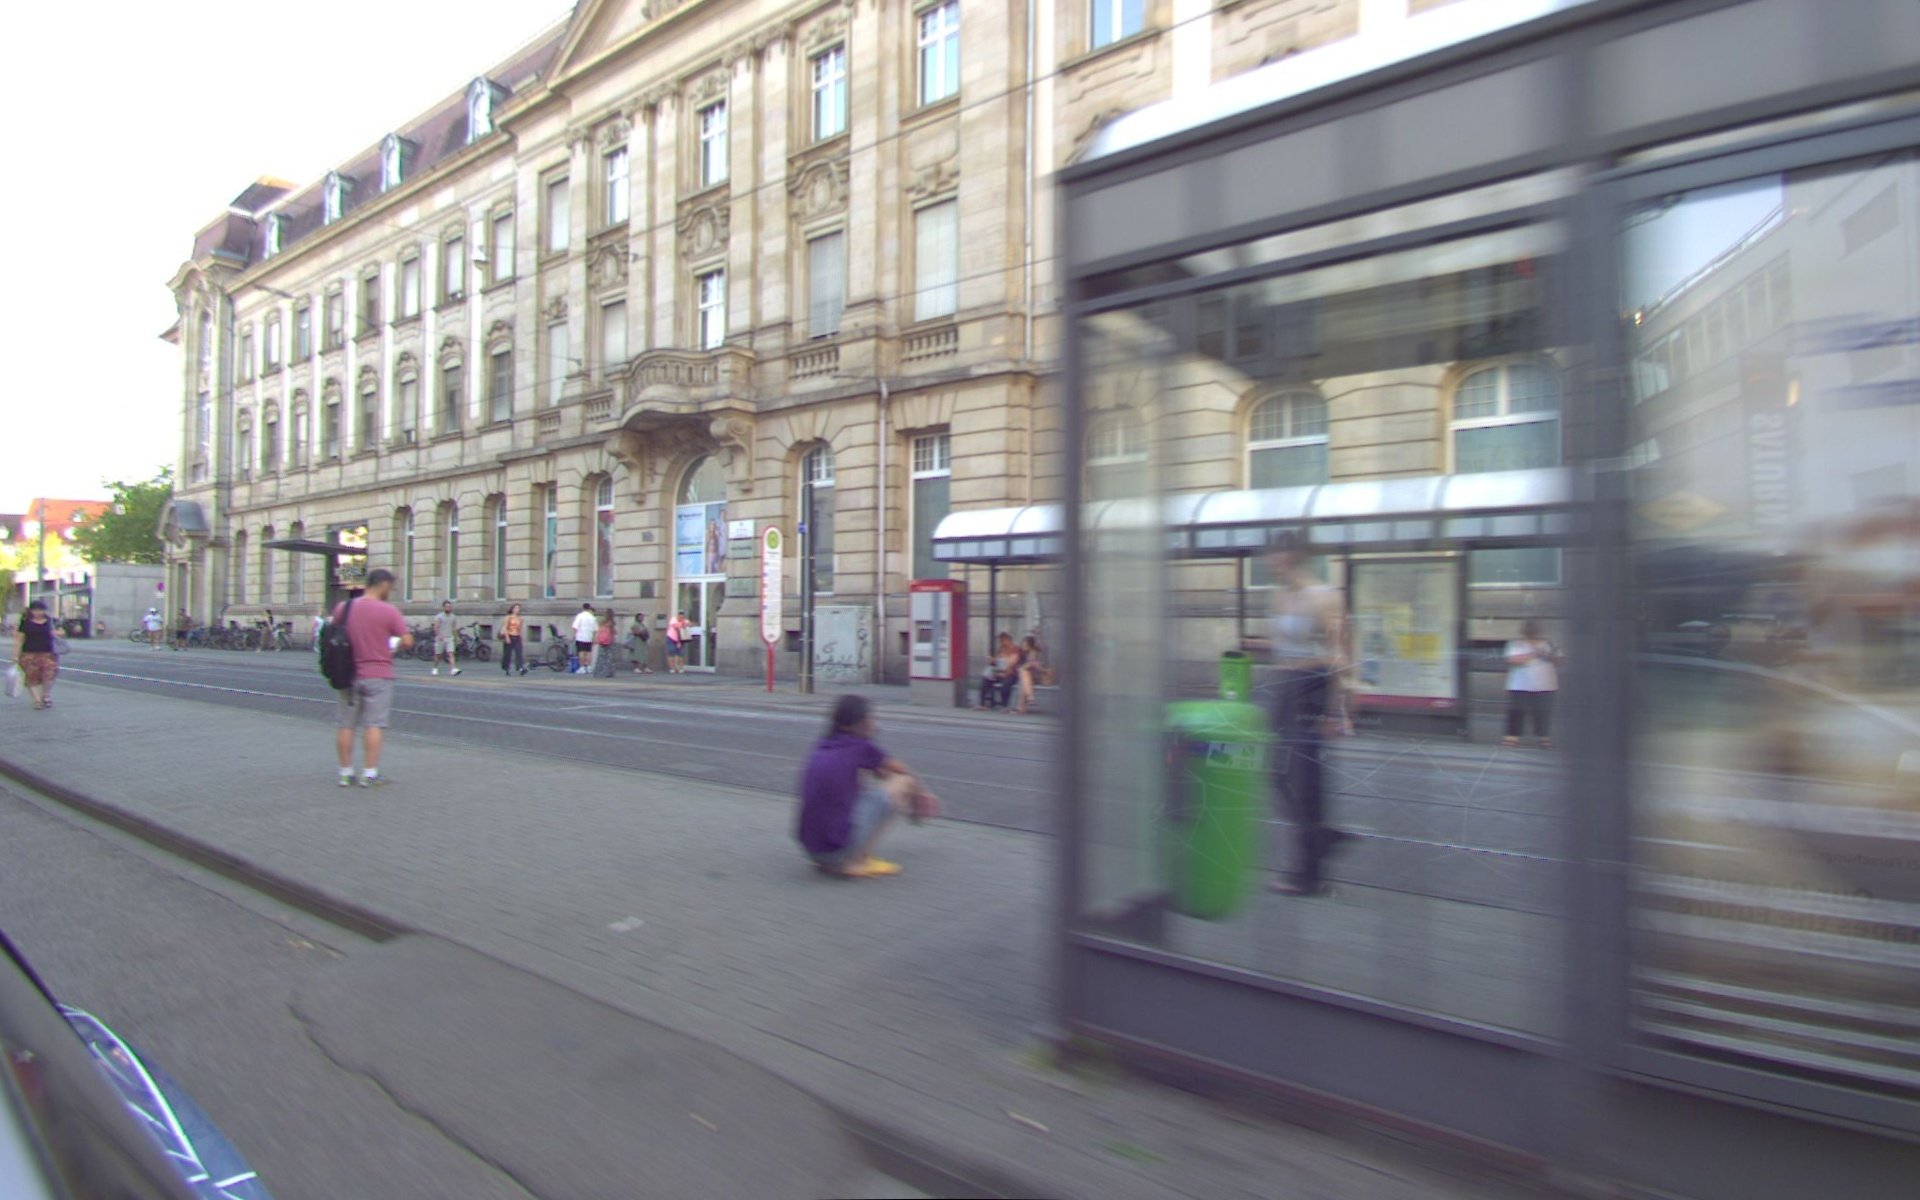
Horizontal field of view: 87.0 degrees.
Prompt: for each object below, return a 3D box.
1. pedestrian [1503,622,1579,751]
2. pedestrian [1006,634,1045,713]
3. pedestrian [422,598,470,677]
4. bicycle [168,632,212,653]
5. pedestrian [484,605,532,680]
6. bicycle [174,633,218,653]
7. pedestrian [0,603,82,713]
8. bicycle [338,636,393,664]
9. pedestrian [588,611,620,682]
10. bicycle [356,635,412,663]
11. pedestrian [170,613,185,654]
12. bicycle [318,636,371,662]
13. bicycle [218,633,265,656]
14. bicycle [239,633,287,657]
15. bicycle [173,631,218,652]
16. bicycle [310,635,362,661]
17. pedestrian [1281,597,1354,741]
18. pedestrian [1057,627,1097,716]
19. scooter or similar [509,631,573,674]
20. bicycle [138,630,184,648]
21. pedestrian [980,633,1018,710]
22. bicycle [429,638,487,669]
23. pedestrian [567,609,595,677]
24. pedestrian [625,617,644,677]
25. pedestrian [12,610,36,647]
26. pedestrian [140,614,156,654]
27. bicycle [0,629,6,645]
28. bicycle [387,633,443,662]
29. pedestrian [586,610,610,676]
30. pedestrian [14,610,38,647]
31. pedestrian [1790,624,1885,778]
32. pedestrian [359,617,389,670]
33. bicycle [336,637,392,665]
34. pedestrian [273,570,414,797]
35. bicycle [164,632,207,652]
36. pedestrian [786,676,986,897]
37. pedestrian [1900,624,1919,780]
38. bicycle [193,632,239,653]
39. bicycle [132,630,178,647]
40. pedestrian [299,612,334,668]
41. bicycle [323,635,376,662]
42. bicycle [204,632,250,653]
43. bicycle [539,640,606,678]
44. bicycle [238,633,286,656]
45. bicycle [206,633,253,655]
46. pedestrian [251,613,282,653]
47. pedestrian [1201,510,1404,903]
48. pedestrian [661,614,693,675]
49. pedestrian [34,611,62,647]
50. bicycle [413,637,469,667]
[{"bbox_3d":[6.308,0.911,10.990,0.637,1.337,0.512,0,-1,41],"label":"pedestrian"},{"bbox_3d":[0.954,1.061,14.705,0.429,1.111,0.360,0,0,43],"label":"pedestrian"},{"bbox_3d":[-12.091,0.873,23.820,0.812,1.826,0.686,-1,-2,34],"label":"pedestrian"},{"bbox_3d":[-35.492,1.950,46.656,0.451,0.880,1.559,0,0,42],"label":"bicycle"},{"bbox_3d":[-10.506,0.975,23.543,0.813,1.725,0.686,-1,-2,34],"label":"pedestrian"},{"bbox_3d":[-34.780,1.946,46.074,0.451,0.880,1.559,0,0,42],"label":"bicycle"},{"bbox_3d":[-13.297,0.816,14.541,0.899,1.512,0.838,-1,-2,37],"label":"pedestrian"},{"bbox_3d":[-20.327,1.707,34.616,0.451,0.880,1.559,0,0,42],"label":"bicycle"},{"bbox_3d":[-8.284,1.074,23.538,0.570,1.617,0.436,0,0,30],"label":"pedestrian"},{"bbox_3d":[-19.165,1.615,33.670,0.451,0.880,1.559,0,0,42],"label":"bicycle"},{"bbox_3d":[-32.777,1.385,42.387,0.370,1.686,0.495,0,0,-20],"label":"pedestrian"},{"bbox_3d":[-22.018,1.742,36.218,0.451,0.880,1.559,0,0,42],"label":"bicycle"},{"bbox_3d":[-29.906,1.837,42.131,0.451,0.880,1.559,0,0,42],"label":"bicycle"},{"bbox_3d":[-28.470,1.831,41.334,0.451,0.880,1.559,0,0,42],"label":"bicycle"},{"bbox_3d":[-34.212,1.859,45.286,0.451,0.880,1.559,0,0,42],"label":"bicycle"},{"bbox_3d":[-22.548,1.716,36.587,0.451,0.880,1.559,0,0,42],"label":"bicycle"},{"bbox_3d":[4.289,0.806,12.150,0.510,1.663,0.640,1,-1,-31],"label":"pedestrian"},{"bbox_3d":[1.650,0.989,14.226,0.429,1.209,0.360,0,0,43],"label":"pedestrian"},{"bbox_3d":[-11.231,1.395,27.154,0.451,1.076,1.531,0,0,42],"label":"scooter or similar"},{"bbox_3d":[-42.467,2.056,53.805,0.633,0.875,1.819,0,0,35],"label":"bicycle"},{"bbox_3d":[0.583,1.064,15.185,0.429,1.111,0.360,0,0,43],"label":"pedestrian"},{"bbox_3d":[-15.366,1.624,31.001,0.451,0.880,1.559,0,0,42],"label":"bicycle"},{"bbox_3d":[-9.450,1.063,25.222,0.470,1.654,0.563,0,0,-44],"label":"pedestrian"},{"bbox_3d":[-8.027,1.148,24.940,0.433,1.451,0.574,0,0,-16],"label":"pedestrian"},{"bbox_3d":[-45.323,1.396,48.992,0.592,1.749,0.644,-1,-3,28],"label":"pedestrian"},{"bbox_3d":[-33.623,1.387,41.885,0.370,1.643,0.495,0,0,-19],"label":"pedestrian"},{"bbox_3d":[-71.784,2.730,74.578,0.691,1.168,2.106,-1,-2,38],"label":"bicycle"},{"bbox_3d":[-17.954,1.554,33.368,0.451,0.880,1.559,0,0,42],"label":"bicycle"},{"bbox_3d":[-9.160,1.079,25.592,0.606,1.654,0.331,0,0,44],"label":"pedestrian"},{"bbox_3d":[-44.689,1.345,48.425,0.669,1.749,0.484,2,-3,-32],"label":"pedestrian"},{"bbox_3d":[8.018,0.890,9.264,0.637,1.337,0.512,0,-1,41],"label":"pedestrian"},{"bbox_3d":[-16.524,1.223,28.542,0.683,1.477,0.557,1,-2,-32],"label":"pedestrian"},{"bbox_3d":[-19.929,1.705,33.879,0.451,0.880,1.559,0,0,42],"label":"bicycle"},{"bbox_3d":[-4.761,0.613,7.870,0.676,1.650,0.863,0,-1,-12],"label":"pedestrian"},{"bbox_3d":[-35.937,1.952,46.960,0.451,0.880,1.559,0,0,42],"label":"bicycle"},{"bbox_3d":[-0.386,0.889,5.128,0.787,0.946,0.695,1,-1,-30],"label":"pedestrian"},{"bbox_3d":[8.627,0.887,8.799,0.637,1.337,0.512,0,-1,41],"label":"pedestrian"},{"bbox_3d":[-32.371,1.850,44.052,0.451,0.880,1.559,0,0,42],"label":"bicycle"},{"bbox_3d":[-43.081,2.059,54.191,0.633,0.875,1.819,0,0,35],"label":"bicycle"},{"bbox_3d":[-18.387,1.137,28.930,0.650,1.573,0.682,0,-1,-15],"label":"pedestrian"},{"bbox_3d":[-21.593,1.693,35.811,0.451,0.880,1.559,0,0,42],"label":"bicycle"},{"bbox_3d":[-31.648,1.825,43.717,0.451,0.880,1.559,0,0,42],"label":"bicycle"},{"bbox_3d":[-9.834,1.475,25.703,0.451,0.880,1.559,0,0,42],"label":"bicycle"},{"bbox_3d":[-28.915,1.833,41.936,0.451,0.880,1.559,0,0,42],"label":"bicycle"},{"bbox_3d":[-30.768,1.841,42.636,0.451,0.880,1.559,0,0,42],"label":"bicycle"},{"bbox_3d":[-27.387,1.292,39.974,0.773,1.544,0.731,-1,-1,26],"label":"pedestrian"},{"bbox_3d":[1.591,0.466,4.772,0.665,1.704,0.639,1,-1,-11],"label":"pedestrian"},{"bbox_3d":[-7.069,1.102,25.278,0.588,1.501,0.539,0,0,14],"label":"pedestrian"},{"bbox_3d":[-44.407,1.425,49.286,0.673,1.749,0.674,0,-3,11],"label":"pedestrian"},{"bbox_3d":[-16.569,1.640,32.344,0.451,0.880,1.559,0,0,42],"label":"bicycle"}]
